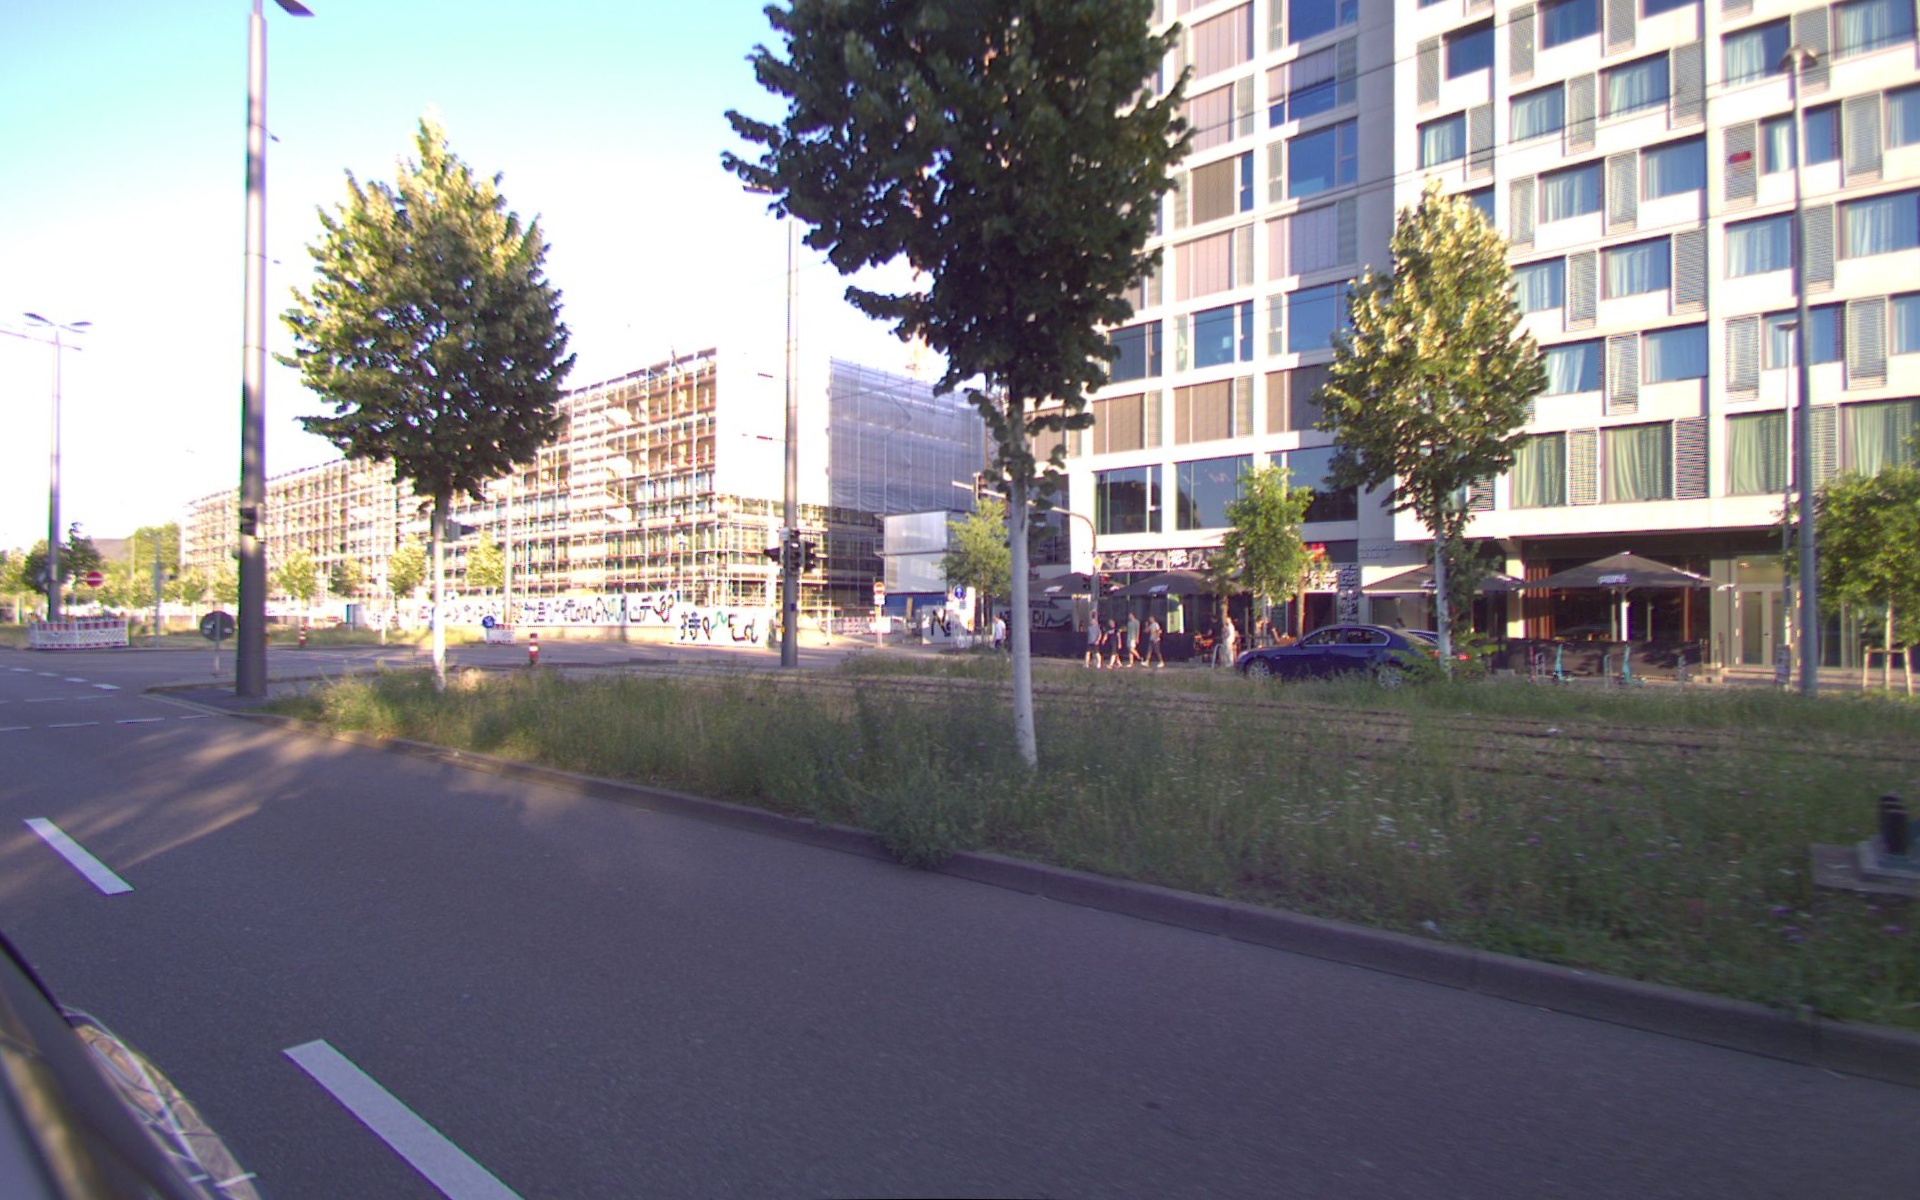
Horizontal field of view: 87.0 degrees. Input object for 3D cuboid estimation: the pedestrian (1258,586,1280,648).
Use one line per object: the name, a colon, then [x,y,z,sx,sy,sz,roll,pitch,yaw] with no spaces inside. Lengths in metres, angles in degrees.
pedestrian: [10.304,0.573,33.710,0.494,2.029,0.552,0,-2,-8]

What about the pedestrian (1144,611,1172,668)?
pedestrian: [6.946,1.372,35.481,0.708,1.938,0.671,-1,0,42]

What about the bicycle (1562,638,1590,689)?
bicycle: [16.169,1.649,26.554,0.442,1.208,1.891,-1,0,37]

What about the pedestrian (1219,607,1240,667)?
pedestrian: [9.273,1.275,34.825,0.494,2.029,0.552,0,-2,-8]

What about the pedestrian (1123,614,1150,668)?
pedestrian: [6.286,1.455,35.960,0.680,1.849,0.699,0,1,39]

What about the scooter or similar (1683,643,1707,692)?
scooter or similar: [17.877,1.634,24.613,0.338,1.065,1.170,-3,1,41]

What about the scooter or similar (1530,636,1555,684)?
scooter or similar: [15.507,1.586,26.928,0.338,1.227,1.169,-1,-2,41]

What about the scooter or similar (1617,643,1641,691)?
scooter or similar: [16.829,1.671,25.440,0.338,1.172,1.169,-1,-2,41]

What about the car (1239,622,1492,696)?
car: [8.802,1.246,22.243,4.798,1.452,1.994,-1,-4,41]

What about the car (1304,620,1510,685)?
car: [10.715,1.204,24.404,4.220,1.451,1.866,-1,-2,39]

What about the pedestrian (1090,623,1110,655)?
pedestrian: [6.245,1.733,45.226,0.768,1.425,0.601,-1,-2,25]

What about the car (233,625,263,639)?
car: [-79.421,3.555,112.900,4.064,1.466,1.647,-1,-3,39]

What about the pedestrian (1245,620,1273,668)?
pedestrian: [10.488,1.525,35.504,0.708,1.615,0.671,-1,0,43]

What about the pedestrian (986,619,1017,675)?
pedestrian: [1.407,1.595,34.628,0.762,1.850,0.699,-1,0,39]
